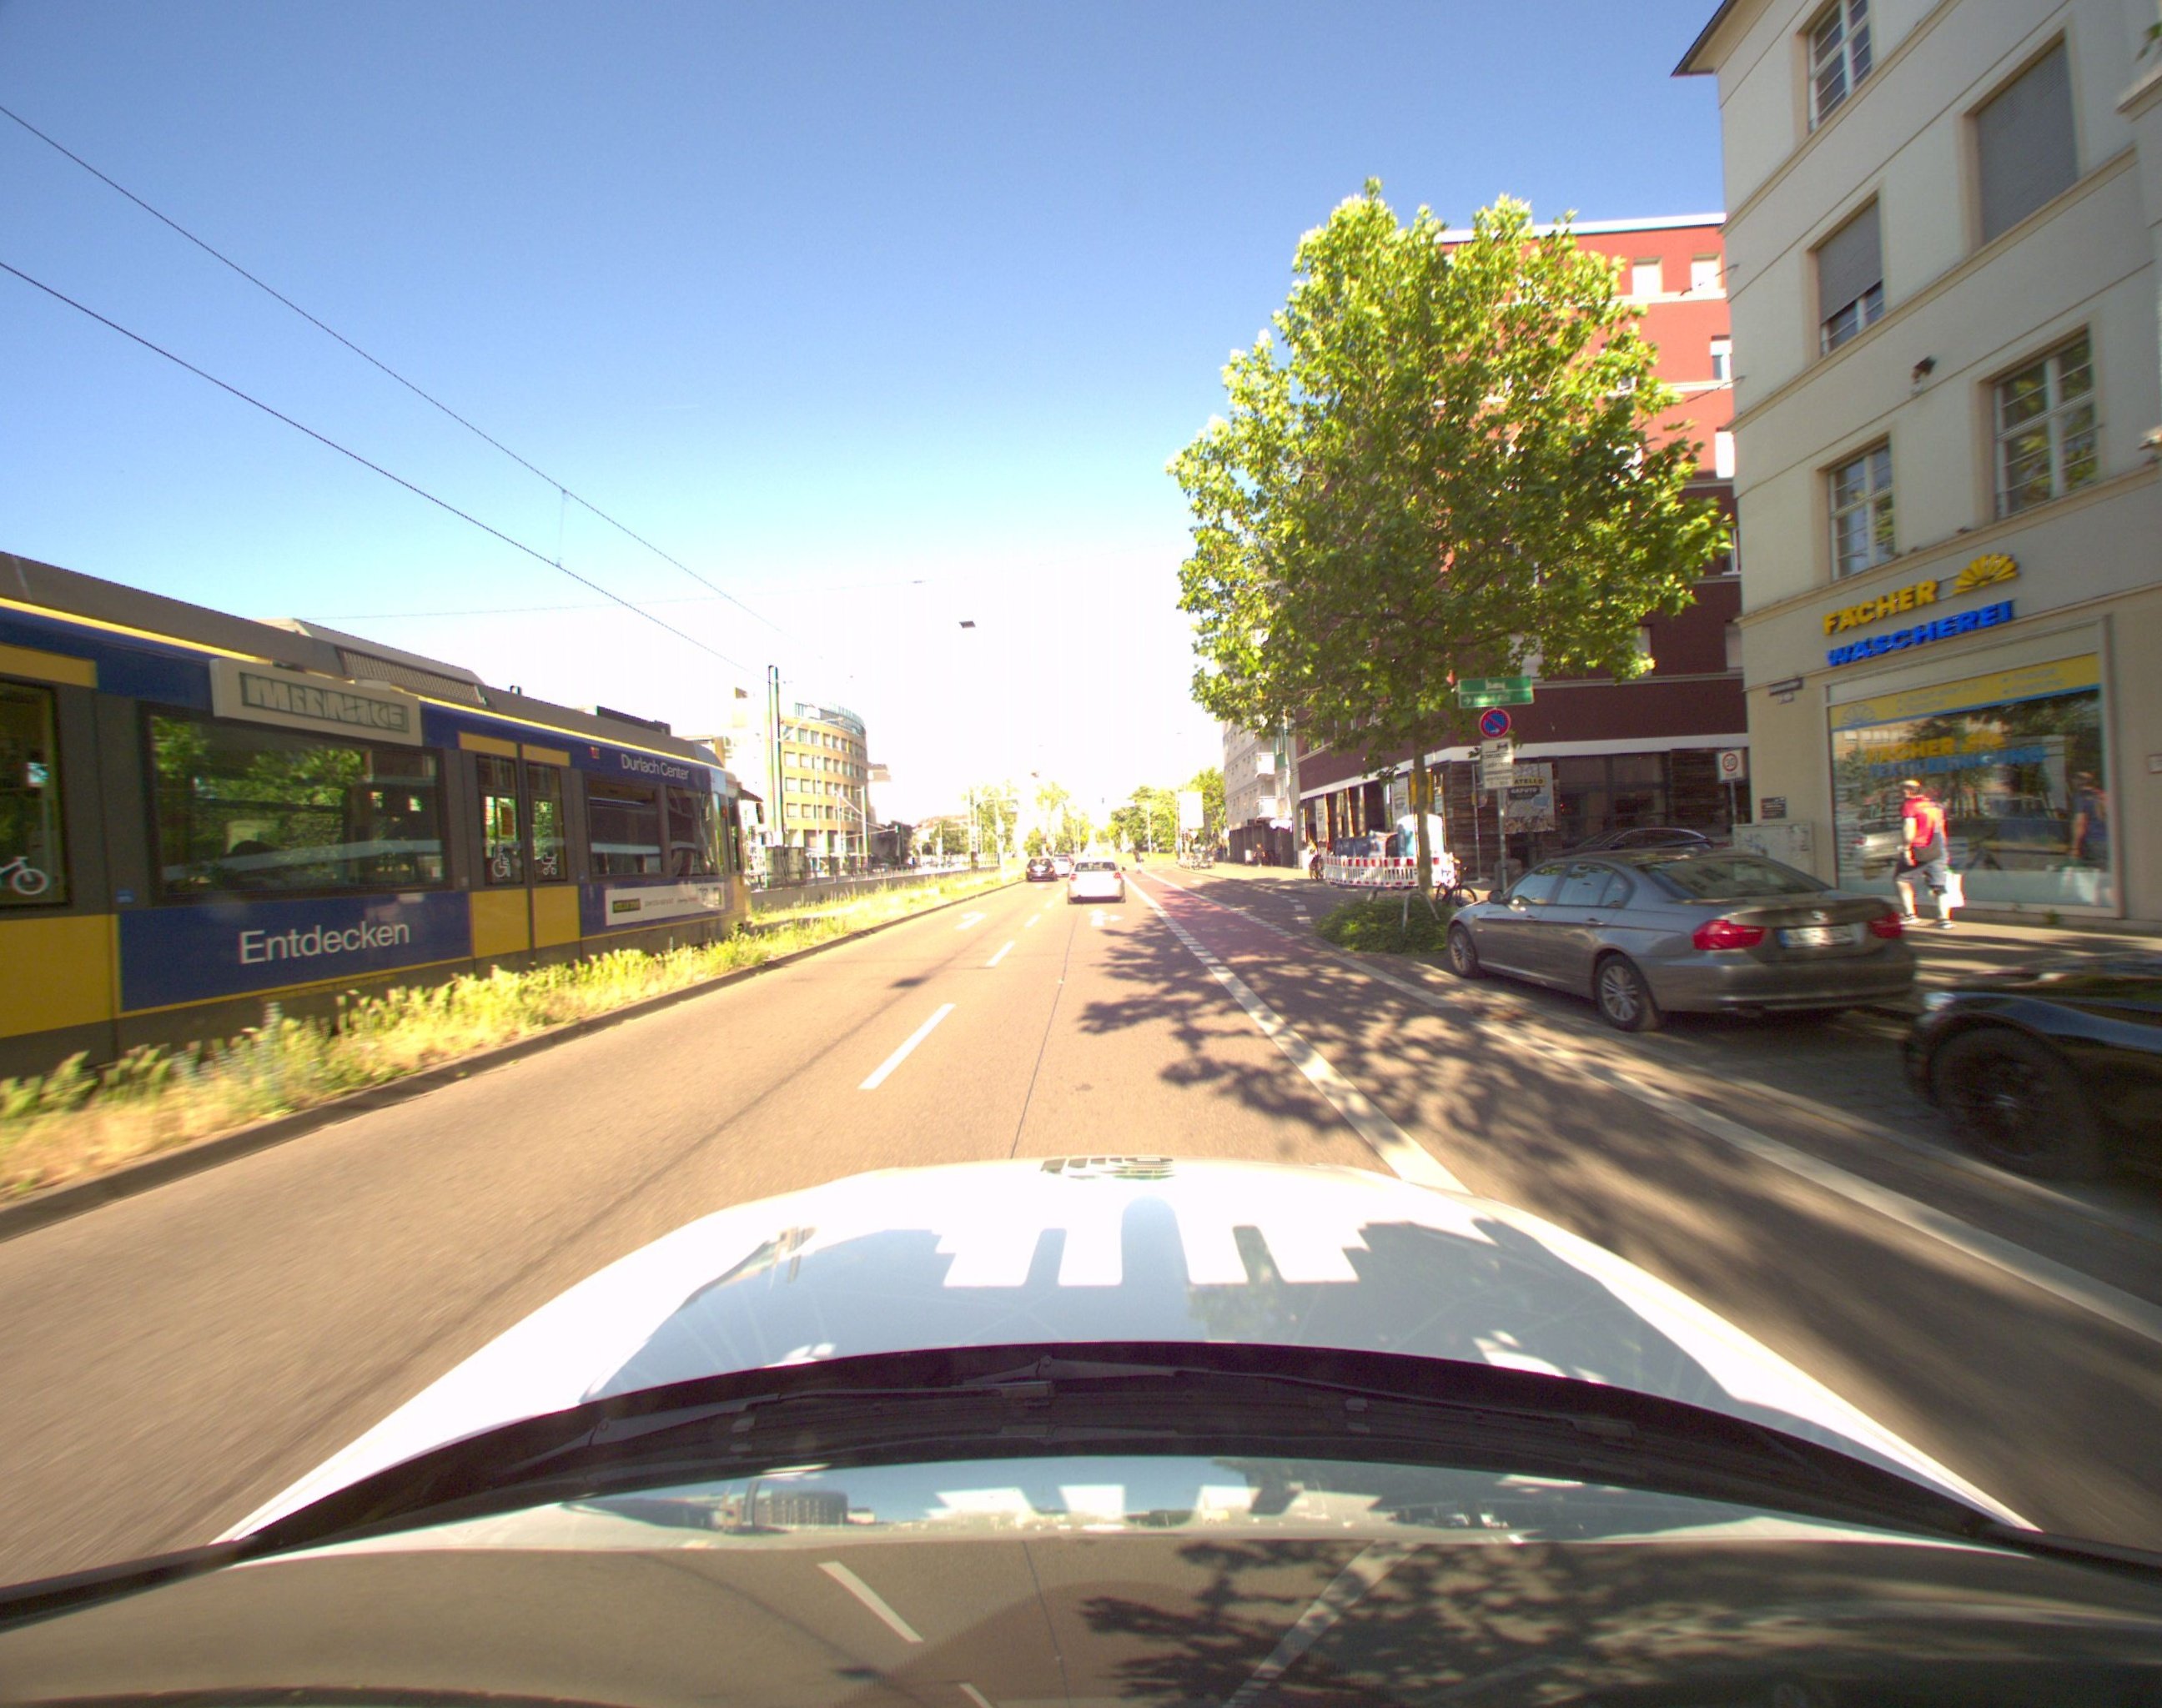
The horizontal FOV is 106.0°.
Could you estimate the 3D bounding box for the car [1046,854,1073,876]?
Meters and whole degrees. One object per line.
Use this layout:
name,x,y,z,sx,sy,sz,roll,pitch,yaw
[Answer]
car,-1.481,0.753,56.398,1.638,1.421,4.001,-1,0,1

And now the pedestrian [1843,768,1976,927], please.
pedestrian,10.522,-0.079,10.375,0.711,1.900,0.863,-3,-1,1

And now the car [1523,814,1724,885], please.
car,15.225,-0.098,23.046,4.284,1.788,1.995,-2,-2,1

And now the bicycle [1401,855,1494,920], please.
bicycle,6.976,0.600,15.627,0.579,1.162,2.233,-1,0,-6

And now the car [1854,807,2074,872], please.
car,24.732,-0.398,22.934,3.973,1.651,2.000,-1,0,1

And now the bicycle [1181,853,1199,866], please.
bicycle,9.469,0.506,70.713,1.459,1.067,0.257,-3,-1,3

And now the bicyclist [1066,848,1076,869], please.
bicyclist,-0.754,0.359,62.098,0.616,1.571,0.684,-1,0,-10

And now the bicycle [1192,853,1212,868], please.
bicycle,9.492,0.529,63.976,1.459,1.067,0.257,-3,-1,3

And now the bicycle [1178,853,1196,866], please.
bicycle,9.533,0.487,73.287,1.459,1.067,0.257,-3,-1,3

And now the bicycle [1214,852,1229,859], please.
bicycle,22.526,0.245,130.242,2.297,1.068,0.559,-1,0,24

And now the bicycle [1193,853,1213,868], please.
bicycle,9.439,0.526,63.227,1.459,1.067,0.257,-3,-1,3

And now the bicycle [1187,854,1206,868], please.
bicycle,9.448,0.547,66.723,1.459,1.067,0.257,-3,-1,3

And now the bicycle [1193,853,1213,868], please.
bicycle,9.421,0.517,62.856,1.459,1.067,0.257,-3,-1,3

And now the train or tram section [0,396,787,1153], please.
train or tram section,-6.919,-0.381,9.314,2.942,3.897,10.805,-1,0,1

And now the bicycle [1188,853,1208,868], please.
bicycle,9.379,0.528,65.307,1.459,1.067,0.257,-3,-1,3

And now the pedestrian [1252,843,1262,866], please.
pedestrian,12.336,0.056,57.153,0.570,1.582,0.557,-1,0,1

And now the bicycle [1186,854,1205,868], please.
bicycle,9.433,0.539,67.069,1.459,1.067,0.257,-3,-1,3

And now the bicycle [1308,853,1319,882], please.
bicycle,9.302,0.516,32.551,0.315,1.085,1.691,-3,0,14

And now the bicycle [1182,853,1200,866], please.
bicycle,9.471,0.500,70.387,1.459,1.067,0.257,-3,-1,3

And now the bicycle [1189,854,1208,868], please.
bicycle,9.288,0.557,64.480,1.459,1.067,0.257,-3,-1,3

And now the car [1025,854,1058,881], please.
car,-2.298,0.760,48.197,1.721,1.470,4.408,-2,0,-1

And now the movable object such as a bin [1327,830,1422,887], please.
movable object such as a bin,10.526,0.114,29.443,1.942,1.843,3.475,-3,1,-4

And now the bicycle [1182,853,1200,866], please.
bicycle,9.450,0.448,70.066,1.459,1.067,0.257,-3,-1,3

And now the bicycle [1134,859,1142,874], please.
bicycle,4.201,0.946,60.460,0.497,1.088,1.998,-1,0,2

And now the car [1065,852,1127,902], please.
car,0.475,0.678,26.110,1.792,1.415,4.000,-1,0,1

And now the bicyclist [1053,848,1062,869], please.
bicyclist,-1.761,0.356,61.891,0.614,1.572,0.687,-1,-1,3

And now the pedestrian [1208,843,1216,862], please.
pedestrian,13.874,-0.127,86.463,0.786,2.014,0.872,-1,-1,8

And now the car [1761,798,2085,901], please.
car,17.045,-0.084,16.689,4.508,1.816,2.000,-2,0,1

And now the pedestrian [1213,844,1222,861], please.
pedestrian,14.752,-0.134,87.785,0.819,1.856,0.921,-1,-1,16

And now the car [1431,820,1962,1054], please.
car,5.160,0.569,7.784,1.783,1.555,4.437,-1,0,1

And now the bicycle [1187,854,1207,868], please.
bicycle,9.405,0.549,66.023,1.459,1.067,0.257,-3,-1,3

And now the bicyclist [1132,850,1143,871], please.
bicyclist,4.181,0.499,60.511,0.782,1.531,0.895,-1,0,1

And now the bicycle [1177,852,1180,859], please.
bicycle,13.978,0.171,117.048,0.350,0.958,1.574,-1,0,3

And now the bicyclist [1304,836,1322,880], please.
bicyclist,9.259,0.158,32.487,0.597,1.690,0.599,-3,0,12

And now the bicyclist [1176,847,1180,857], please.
bicyclist,13.949,-0.286,117.005,0.614,1.380,0.687,-1,0,3

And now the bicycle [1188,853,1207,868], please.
bicycle,9.378,0.524,65.680,1.459,1.067,0.257,-3,-1,3

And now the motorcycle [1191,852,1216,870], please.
motorcycle,9.224,0.504,61.388,1.846,1.301,0.653,-1,0,4
